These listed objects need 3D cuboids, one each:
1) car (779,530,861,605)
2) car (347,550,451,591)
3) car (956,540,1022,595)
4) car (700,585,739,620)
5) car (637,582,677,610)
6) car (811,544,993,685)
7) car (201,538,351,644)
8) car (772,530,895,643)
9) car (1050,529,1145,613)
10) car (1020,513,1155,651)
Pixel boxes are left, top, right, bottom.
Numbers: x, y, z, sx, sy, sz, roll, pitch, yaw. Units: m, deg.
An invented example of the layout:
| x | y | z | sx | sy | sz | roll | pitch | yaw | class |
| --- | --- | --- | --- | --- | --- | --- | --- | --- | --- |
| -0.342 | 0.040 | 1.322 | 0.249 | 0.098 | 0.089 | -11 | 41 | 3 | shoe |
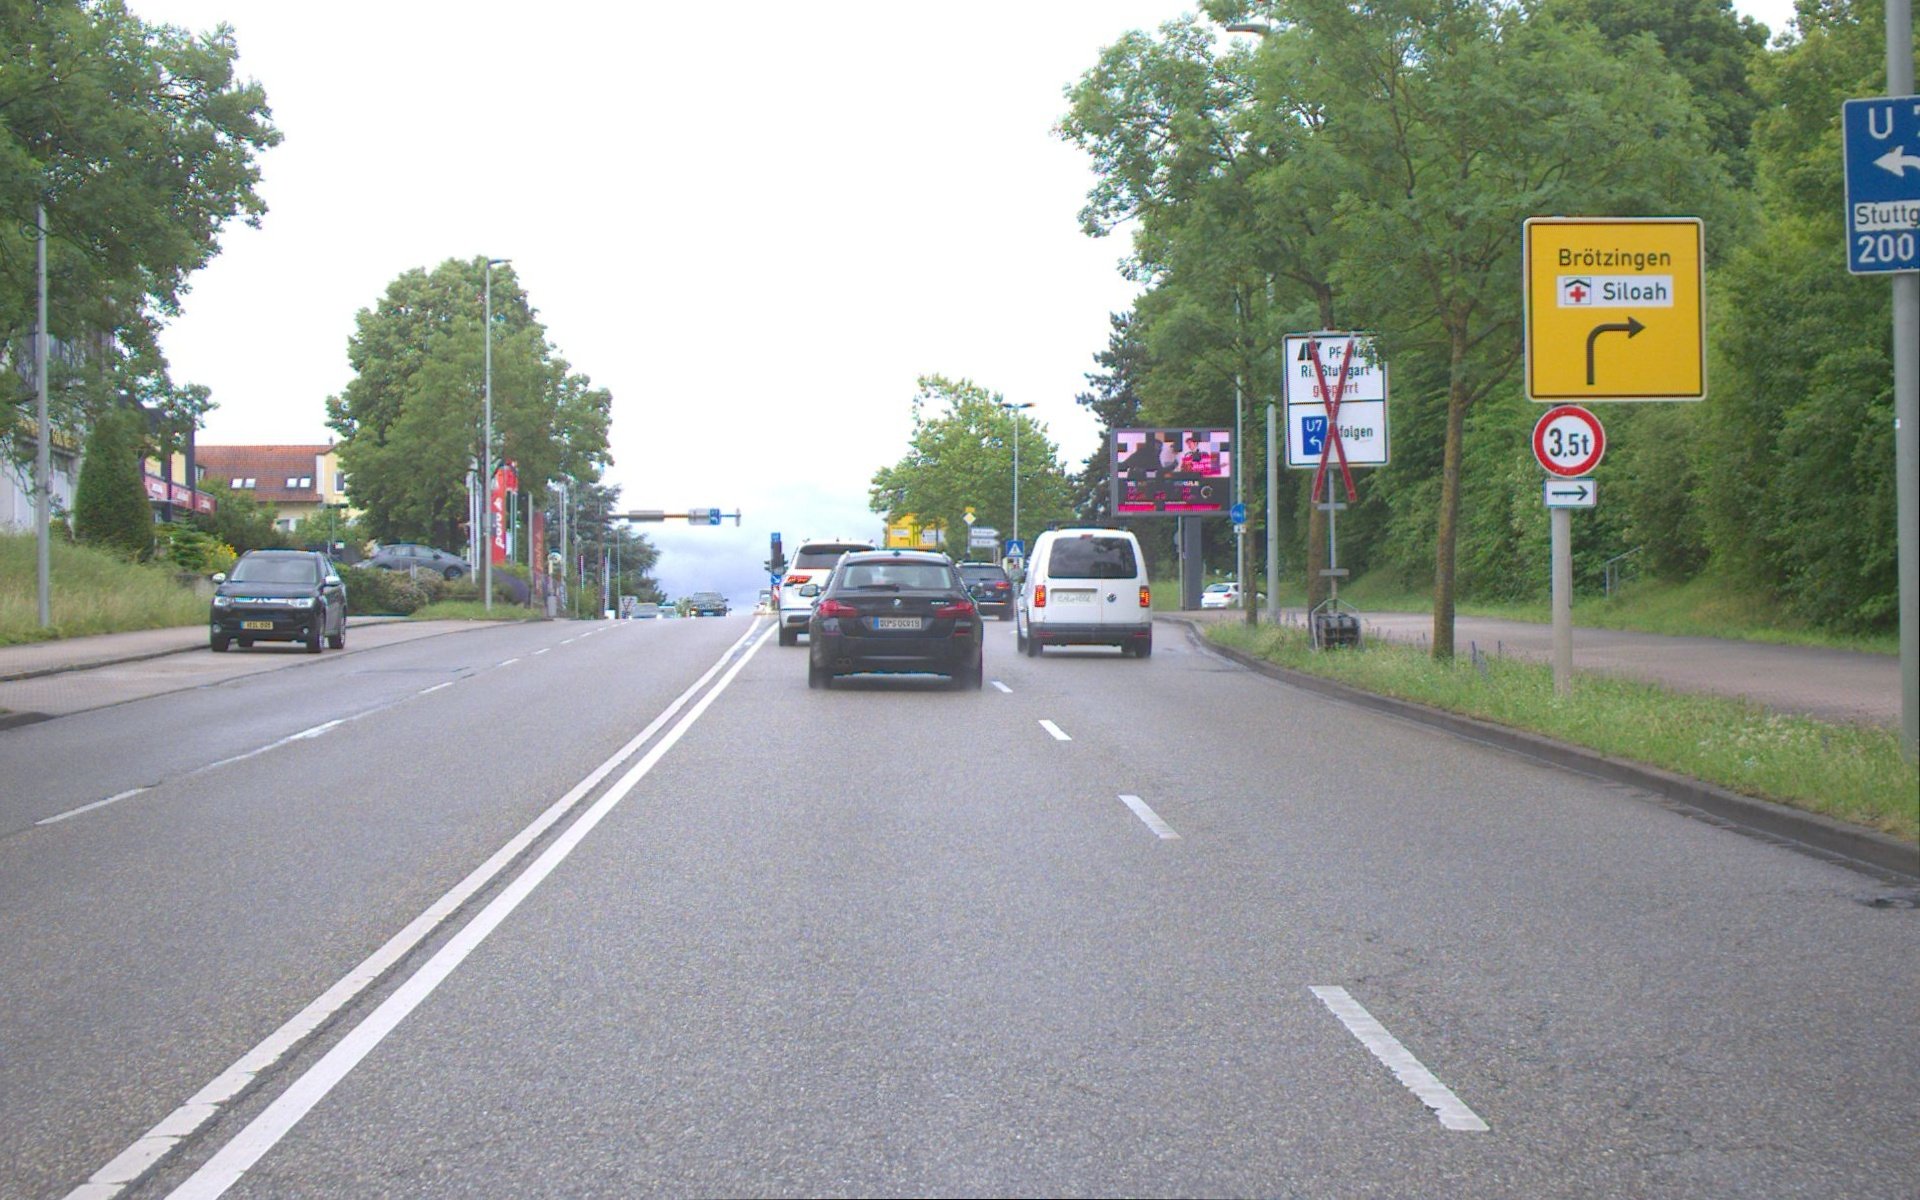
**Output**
| x | y | z | sx | sy | sz | roll | pitch | yaw | class |
| --- | --- | --- | --- | --- | --- | --- | --- | --- | --- |
| -3.245 | -0.767 | 80.347 | 1.758 | 1.702 | 3.946 | 0 | 1 | 0 | car |
| -20.985 | -1.107 | 128.624 | 3.825 | 1.477 | 1.742 | 0 | 0 | -9 | car |
| 0.726 | -0.842 | 87.872 | 1.600 | 1.367 | 3.680 | -1 | 1 | -1 | car |
| -11.676 | 0.107 | 167.183 | 1.795 | 1.578 | 4.199 | -1 | 1 | -3 | car |
| -15.790 | -0.201 | 179.315 | 1.793 | 1.397 | 4.300 | -2 | 0 | -2 | car |
| -0.587 | 0.121 | 37.287 | 1.855 | 1.414 | 3.957 | 1 | 1 | 0 | car |
| -11.392 | -0.180 | 57.531 | 1.726 | 1.662 | 4.488 | 1 | 1 | -2 | car |
| -1.969 | -0.227 | 54.256 | 1.728 | 1.705 | 3.382 | 1 | 1 | 1 | car |
| 2.857 | -0.620 | 72.222 | 1.814 | 1.702 | 3.946 | 0 | 1 | 0 | car |
| 1.786 | -0.278 | 49.204 | 1.741 | 1.863 | 3.946 | 1 | 1 | 0 | car |
